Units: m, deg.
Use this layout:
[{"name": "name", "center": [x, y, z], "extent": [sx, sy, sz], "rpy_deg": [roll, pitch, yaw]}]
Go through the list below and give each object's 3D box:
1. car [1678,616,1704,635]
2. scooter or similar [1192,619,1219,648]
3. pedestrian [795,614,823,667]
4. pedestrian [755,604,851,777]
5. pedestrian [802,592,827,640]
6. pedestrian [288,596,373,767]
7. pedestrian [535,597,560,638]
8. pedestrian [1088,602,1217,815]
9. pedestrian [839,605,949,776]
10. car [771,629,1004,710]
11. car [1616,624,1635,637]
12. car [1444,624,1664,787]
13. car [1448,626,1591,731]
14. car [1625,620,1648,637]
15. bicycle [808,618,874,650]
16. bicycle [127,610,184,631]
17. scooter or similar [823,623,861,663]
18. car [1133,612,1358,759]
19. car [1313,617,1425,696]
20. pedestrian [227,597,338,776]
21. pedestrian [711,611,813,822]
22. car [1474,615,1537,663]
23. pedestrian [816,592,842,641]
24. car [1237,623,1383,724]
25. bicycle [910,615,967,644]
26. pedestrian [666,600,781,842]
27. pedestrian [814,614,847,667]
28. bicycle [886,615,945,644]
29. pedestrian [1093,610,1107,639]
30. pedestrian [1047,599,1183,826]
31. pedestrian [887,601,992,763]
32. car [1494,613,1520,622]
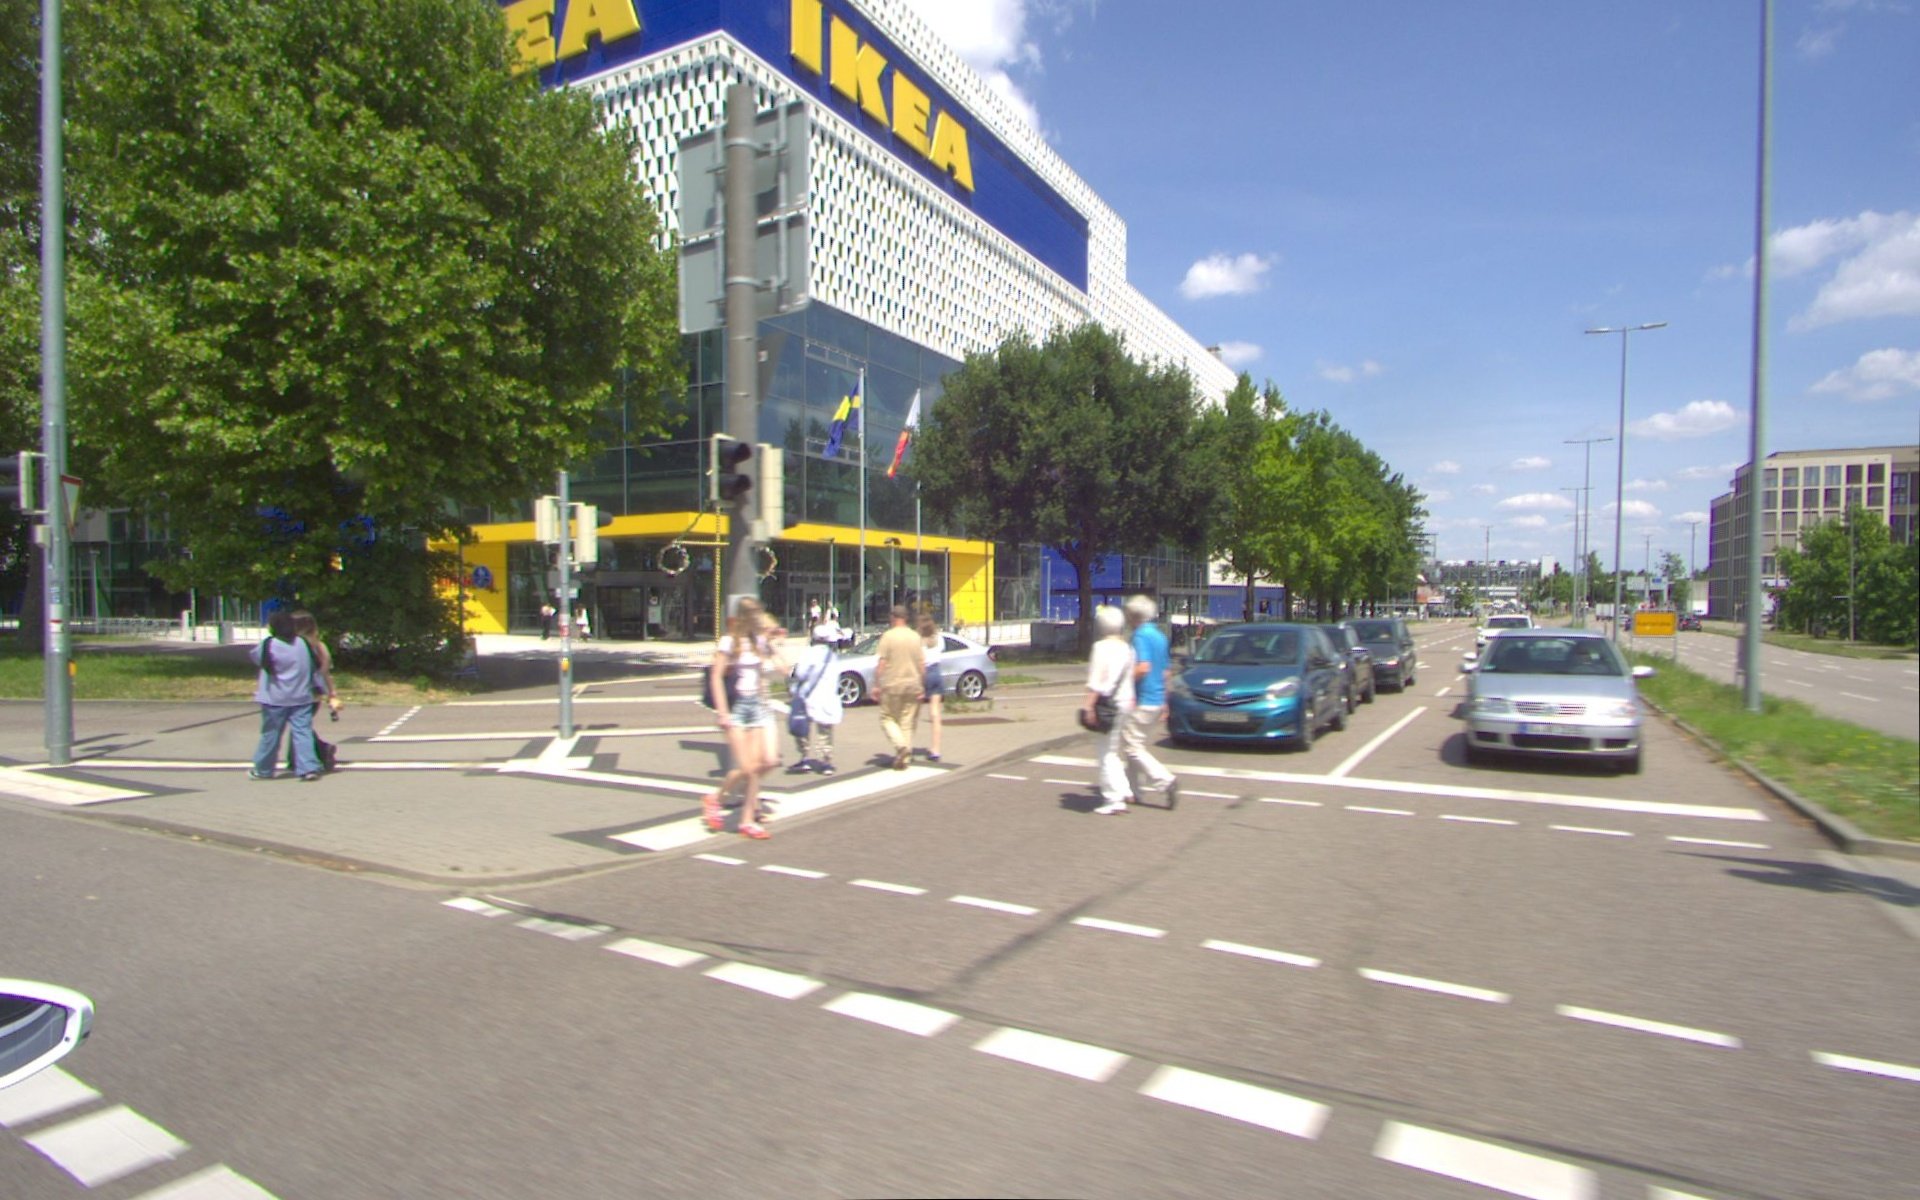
[{"name": "car", "center": [80.789, 2.853, 110.700], "extent": [1.970, 2.040, 3.982], "rpy_deg": [0, -1, 30]}, {"name": "scooter or similar", "center": [11.407, 1.545, 46.508], "extent": [1.119, 1.337, 0.400], "rpy_deg": [0, 0, 32]}, {"name": "pedestrian", "center": [-4.680, 1.247, 31.100], "extent": [0.623, 1.607, 0.610], "rpy_deg": [1, 0, 24]}, {"name": "pedestrian", "center": [-1.629, 0.895, 10.331], "extent": [0.785, 1.681, 0.849], "rpy_deg": [1, 0, -24]}, {"name": "pedestrian", "center": [-6.288, 0.674, 43.196], "extent": [0.724, 2.040, 0.793], "rpy_deg": [1, 0, 41]}, {"name": "pedestrian", "center": [-6.587, 0.824, 10.474], "extent": [0.619, 1.705, 0.719], "rpy_deg": [1, 0, -43]}, {"name": "pedestrian", "center": [-18.048, 0.765, 43.782], "extent": [0.732, 1.759, 0.777], "rpy_deg": [1, 0, 41]}, {"name": "pedestrian", "center": [1.594, 0.860, 8.329], "extent": [0.598, 1.658, 0.856], "rpy_deg": [1, -2, -44]}, {"name": "pedestrian", "center": [-0.690, 0.905, 10.427], "extent": [0.790, 1.681, 0.844], "rpy_deg": [1, 0, -44]}, {"name": "car", "center": [-1.364, 1.306, 19.627], "extent": [4.264, 1.436, 1.722], "rpy_deg": [1, -2, -33]}, {"name": "car", "center": [82.091, 3.739, 123.625], "extent": [1.735, 1.632, 3.533], "rpy_deg": [0, -1, 30]}, {"name": "car", "center": [6.590, 1.000, 11.094], "extent": [1.778, 1.415, 3.816], "rpy_deg": [0, -1, 33]}, {"name": "car", "center": [9.081, 1.154, 16.227], "extent": [1.777, 1.416, 4.214], "rpy_deg": [1, -1, 30]}, {"name": "car", "center": [69.873, 2.932, 103.458], "extent": [1.735, 1.632, 3.533], "rpy_deg": [0, -1, 30]}, {"name": "bicycle", "center": [-4.608, 1.300, 38.761], "extent": [2.388, 1.160, 0.801], "rpy_deg": [0, 0, 16]}, {"name": "bicycle", "center": [-40.100, 1.008, 49.962], "extent": [0.854, 0.981, 2.060], "rpy_deg": [0, 0, 25]}, {"name": "scooter or similar", "center": [-3.704, 1.332, 31.490], "extent": [0.717, 1.214, 1.073], "rpy_deg": [0, 0, 27]}, {"name": "car", "center": [3.863, 0.980, 13.059], "extent": [1.970, 1.576, 3.984], "rpy_deg": [0, -1, 29]}, {"name": "car", "center": [9.478, 1.225, 23.009], "extent": [1.835, 1.605, 4.396], "rpy_deg": [0, -1, 29]}, {"name": "pedestrian", "center": [-6.573, 0.800, 9.713], "extent": [0.760, 1.627, 0.888], "rpy_deg": [1, 0, -43]}, {"name": "pedestrian", "center": [-1.582, 0.894, 8.019], "extent": [0.603, 1.600, 0.526], "rpy_deg": [0, 0, 33]}, {"name": "car", "center": [20.499, 1.415, 37.566], "extent": [1.970, 1.661, 4.063], "rpy_deg": [0, -1, 30]}, {"name": "pedestrian", "center": [-5.561, 0.687, 42.413], "extent": [0.723, 2.040, 0.794], "rpy_deg": [1, 0, 37]}, {"name": "car", "center": [6.204, 1.158, 17.442], "extent": [1.824, 1.462, 4.398], "rpy_deg": [0, -1, 27]}, {"name": "bicycle", "center": [-0.963, 1.306, 44.327], "extent": [2.388, 1.214, 0.801], "rpy_deg": [0, 0, 16]}, {"name": "pedestrian", "center": [-1.745, 0.853, 7.398], "extent": [0.631, 1.688, 0.526], "rpy_deg": [0, 0, 33]}, {"name": "pedestrian", "center": [-4.017, 1.242, 31.044], "extent": [0.623, 1.607, 0.918], "rpy_deg": [1, 0, 24]}, {"name": "bicycle", "center": [-1.916, 1.263, 43.029], "extent": [2.388, 1.214, 0.801], "rpy_deg": [0, 0, 16]}, {"name": "pedestrian", "center": [7.792, 1.351, 55.808], "extent": [0.570, 1.607, 0.766], "rpy_deg": [1, 0, 24]}, {"name": "pedestrian", "center": [1.208, 0.843, 7.862], "extent": [0.602, 1.658, 0.856], "rpy_deg": [1, -2, -44]}, {"name": "pedestrian", "center": [-0.229, 0.866, 10.977], "extent": [0.790, 1.681, 0.844], "rpy_deg": [1, 0, -44]}, {"name": "car", "center": [98.163, 3.195, 179.813], "extent": [3.622, 1.632, 1.800], "rpy_deg": [0, -1, 5]}]
